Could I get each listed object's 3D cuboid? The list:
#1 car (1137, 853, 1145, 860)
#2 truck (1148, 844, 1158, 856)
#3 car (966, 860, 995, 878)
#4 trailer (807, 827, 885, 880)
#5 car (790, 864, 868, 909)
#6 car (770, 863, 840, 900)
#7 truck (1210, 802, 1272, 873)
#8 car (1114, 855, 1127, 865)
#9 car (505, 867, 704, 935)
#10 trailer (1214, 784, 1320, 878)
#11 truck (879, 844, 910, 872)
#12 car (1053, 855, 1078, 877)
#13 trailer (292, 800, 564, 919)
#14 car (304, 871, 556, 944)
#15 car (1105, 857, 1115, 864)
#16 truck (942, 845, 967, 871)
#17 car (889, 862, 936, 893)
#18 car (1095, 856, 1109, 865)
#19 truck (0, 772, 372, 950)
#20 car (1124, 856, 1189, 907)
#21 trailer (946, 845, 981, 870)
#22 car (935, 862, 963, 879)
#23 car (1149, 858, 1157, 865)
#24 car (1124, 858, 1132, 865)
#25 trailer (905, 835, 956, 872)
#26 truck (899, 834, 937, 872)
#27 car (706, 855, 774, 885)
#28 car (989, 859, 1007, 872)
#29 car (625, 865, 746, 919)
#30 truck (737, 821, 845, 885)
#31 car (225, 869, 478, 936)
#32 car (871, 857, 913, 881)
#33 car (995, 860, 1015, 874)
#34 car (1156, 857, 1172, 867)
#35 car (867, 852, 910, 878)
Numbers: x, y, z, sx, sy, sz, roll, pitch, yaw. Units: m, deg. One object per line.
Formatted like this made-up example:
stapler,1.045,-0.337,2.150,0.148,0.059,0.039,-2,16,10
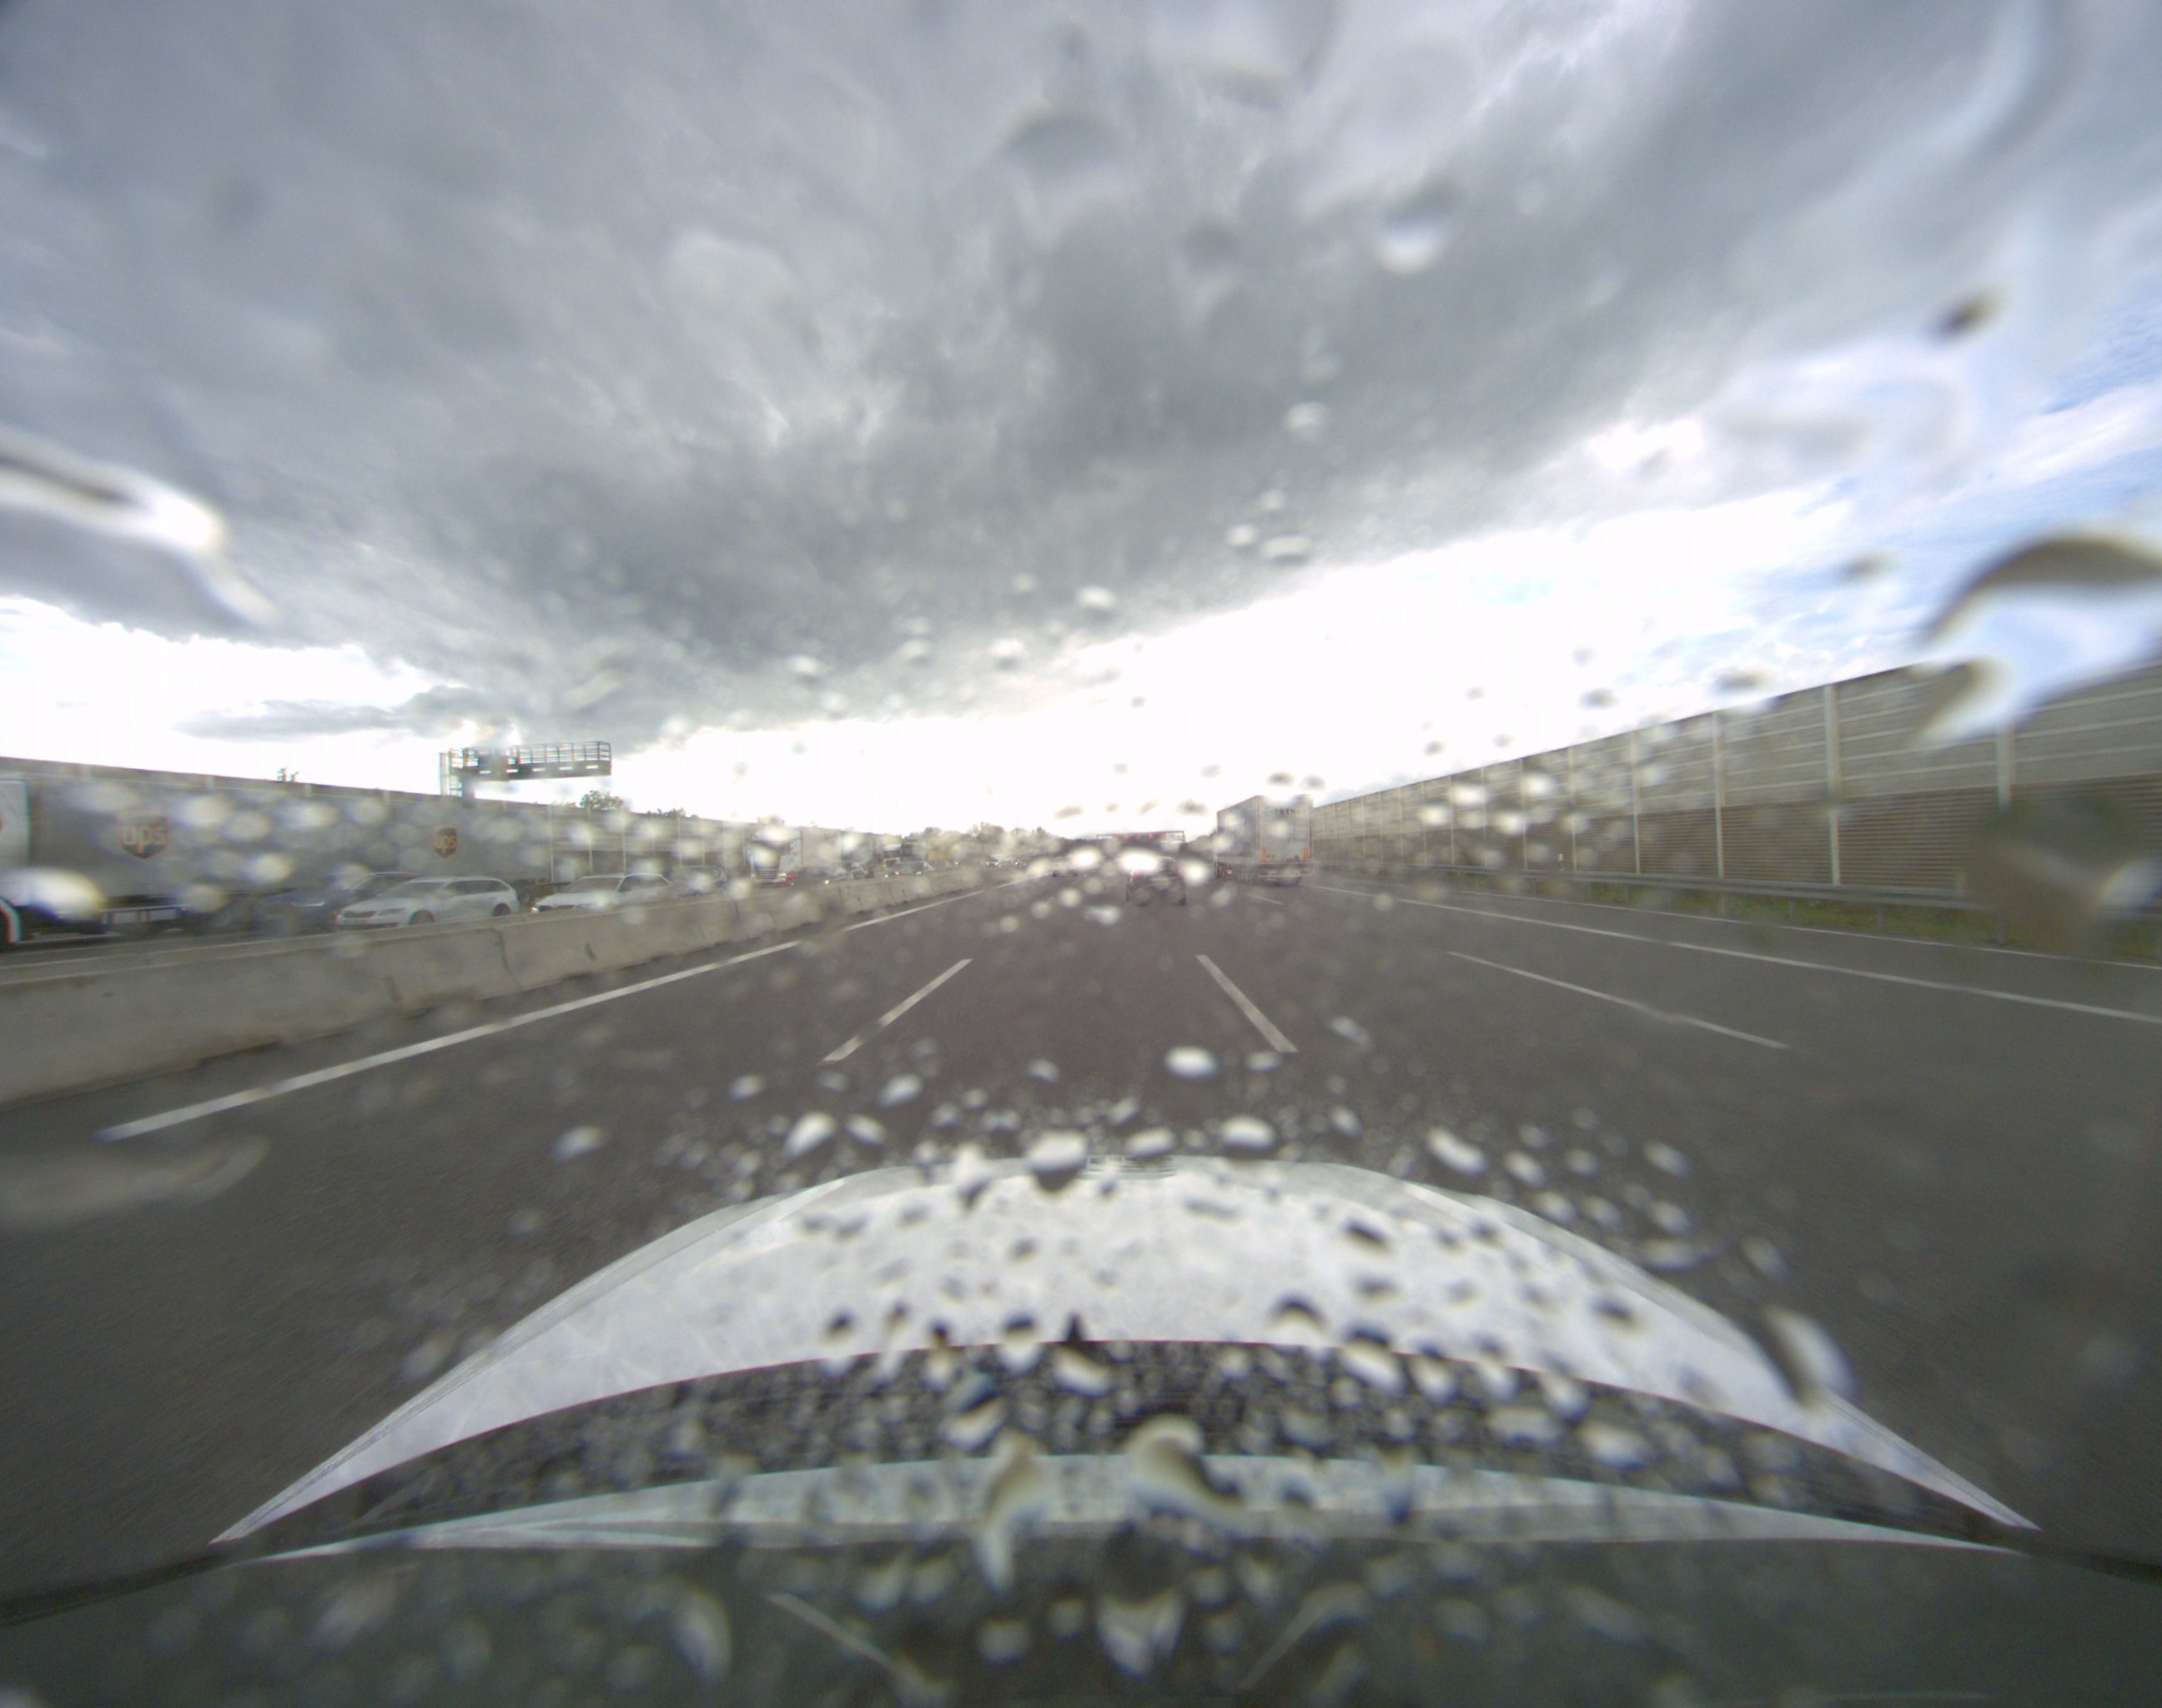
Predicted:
car,16.408,0.739,223.504,1.957,1.560,4.443,1,2,7
truck,22.666,-1.135,255.750,3.137,3.602,12.718,0,0,6
car,-10.233,1.514,83.694,2.053,1.755,5.809,-1,0,2
trailer,-19.231,-0.026,67.379,2.919,3.939,10.127,-1,0,3
car,-12.638,1.553,41.304,2.054,2.002,5.808,-1,0,1
car,-16.590,1.616,49.347,2.053,2.002,5.809,-1,0,2
truck,9.551,-0.917,49.173,2.734,4.035,5.729,-1,-1,2
car,6.966,1.040,143.759,1.958,1.561,4.439,-2,-1,5
car,-13.285,1.225,23.304,2.053,1.564,5.811,-1,0,3
trailer,9.243,-0.969,42.637,2.750,4.032,14.460,-1,0,2
truck,-27.674,0.607,120.758,2.905,4.035,5.731,-1,-1,3
car,-1.156,0.879,61.468,1.711,1.624,4.279,-1,0,1
trailer,-24.492,0.187,31.509,2.711,3.872,9.289,-1,0,2
car,-17.516,1.343,22.460,2.053,1.600,5.811,-1,0,3
car,7.220,1.657,202.023,1.958,1.561,4.439,-2,-1,5
truck,-20.224,0.613,130.614,2.733,4.035,5.731,-1,-1,3
car,-12.127,1.643,59.027,2.053,2.002,5.809,-1,0,2
car,3.707,1.166,143.273,1.958,1.561,4.439,-2,-1,5
truck,-24.914,0.186,21.594,2.676,3.898,10.505,-1,0,2
car,2.277,0.798,25.494,1.711,1.417,4.280,-1,0,2
trailer,-19.766,0.641,138.094,2.749,4.032,14.466,-1,0,4
car,-13.705,1.687,84.589,2.053,1.699,4.412,-1,0,2
car,17.975,1.819,204.249,1.873,1.561,4.439,-2,-1,5
car,12.446,2.015,213.250,1.959,1.561,4.438,-2,-1,4
trailer,-17.782,0.010,97.493,2.750,4.032,14.460,-1,0,2
truck,-18.036,-0.049,90.476,2.734,4.035,5.729,-1,-1,2
car,-23.348,1.045,56.011,2.053,1.892,5.809,-1,0,2
car,-12.313,1.633,120.654,2.053,1.816,4.780,-1,0,2
car,-16.609,1.530,34.635,2.053,2.002,5.811,-1,0,3
truck,-19.864,-0.055,56.808,2.925,3.945,11.075,-1,0,3
car,-21.123,1.310,24.085,2.053,1.600,5.811,-1,0,3
car,-16.107,1.229,69.619,2.053,1.892,5.809,-1,0,2
car,-9.761,1.607,105.020,2.053,1.699,4.412,-1,0,2
car,12.039,1.168,118.508,1.942,1.418,4.234,-2,-1,2
car,-16.078,0.872,68.300,2.053,2.002,5.809,-1,0,2
